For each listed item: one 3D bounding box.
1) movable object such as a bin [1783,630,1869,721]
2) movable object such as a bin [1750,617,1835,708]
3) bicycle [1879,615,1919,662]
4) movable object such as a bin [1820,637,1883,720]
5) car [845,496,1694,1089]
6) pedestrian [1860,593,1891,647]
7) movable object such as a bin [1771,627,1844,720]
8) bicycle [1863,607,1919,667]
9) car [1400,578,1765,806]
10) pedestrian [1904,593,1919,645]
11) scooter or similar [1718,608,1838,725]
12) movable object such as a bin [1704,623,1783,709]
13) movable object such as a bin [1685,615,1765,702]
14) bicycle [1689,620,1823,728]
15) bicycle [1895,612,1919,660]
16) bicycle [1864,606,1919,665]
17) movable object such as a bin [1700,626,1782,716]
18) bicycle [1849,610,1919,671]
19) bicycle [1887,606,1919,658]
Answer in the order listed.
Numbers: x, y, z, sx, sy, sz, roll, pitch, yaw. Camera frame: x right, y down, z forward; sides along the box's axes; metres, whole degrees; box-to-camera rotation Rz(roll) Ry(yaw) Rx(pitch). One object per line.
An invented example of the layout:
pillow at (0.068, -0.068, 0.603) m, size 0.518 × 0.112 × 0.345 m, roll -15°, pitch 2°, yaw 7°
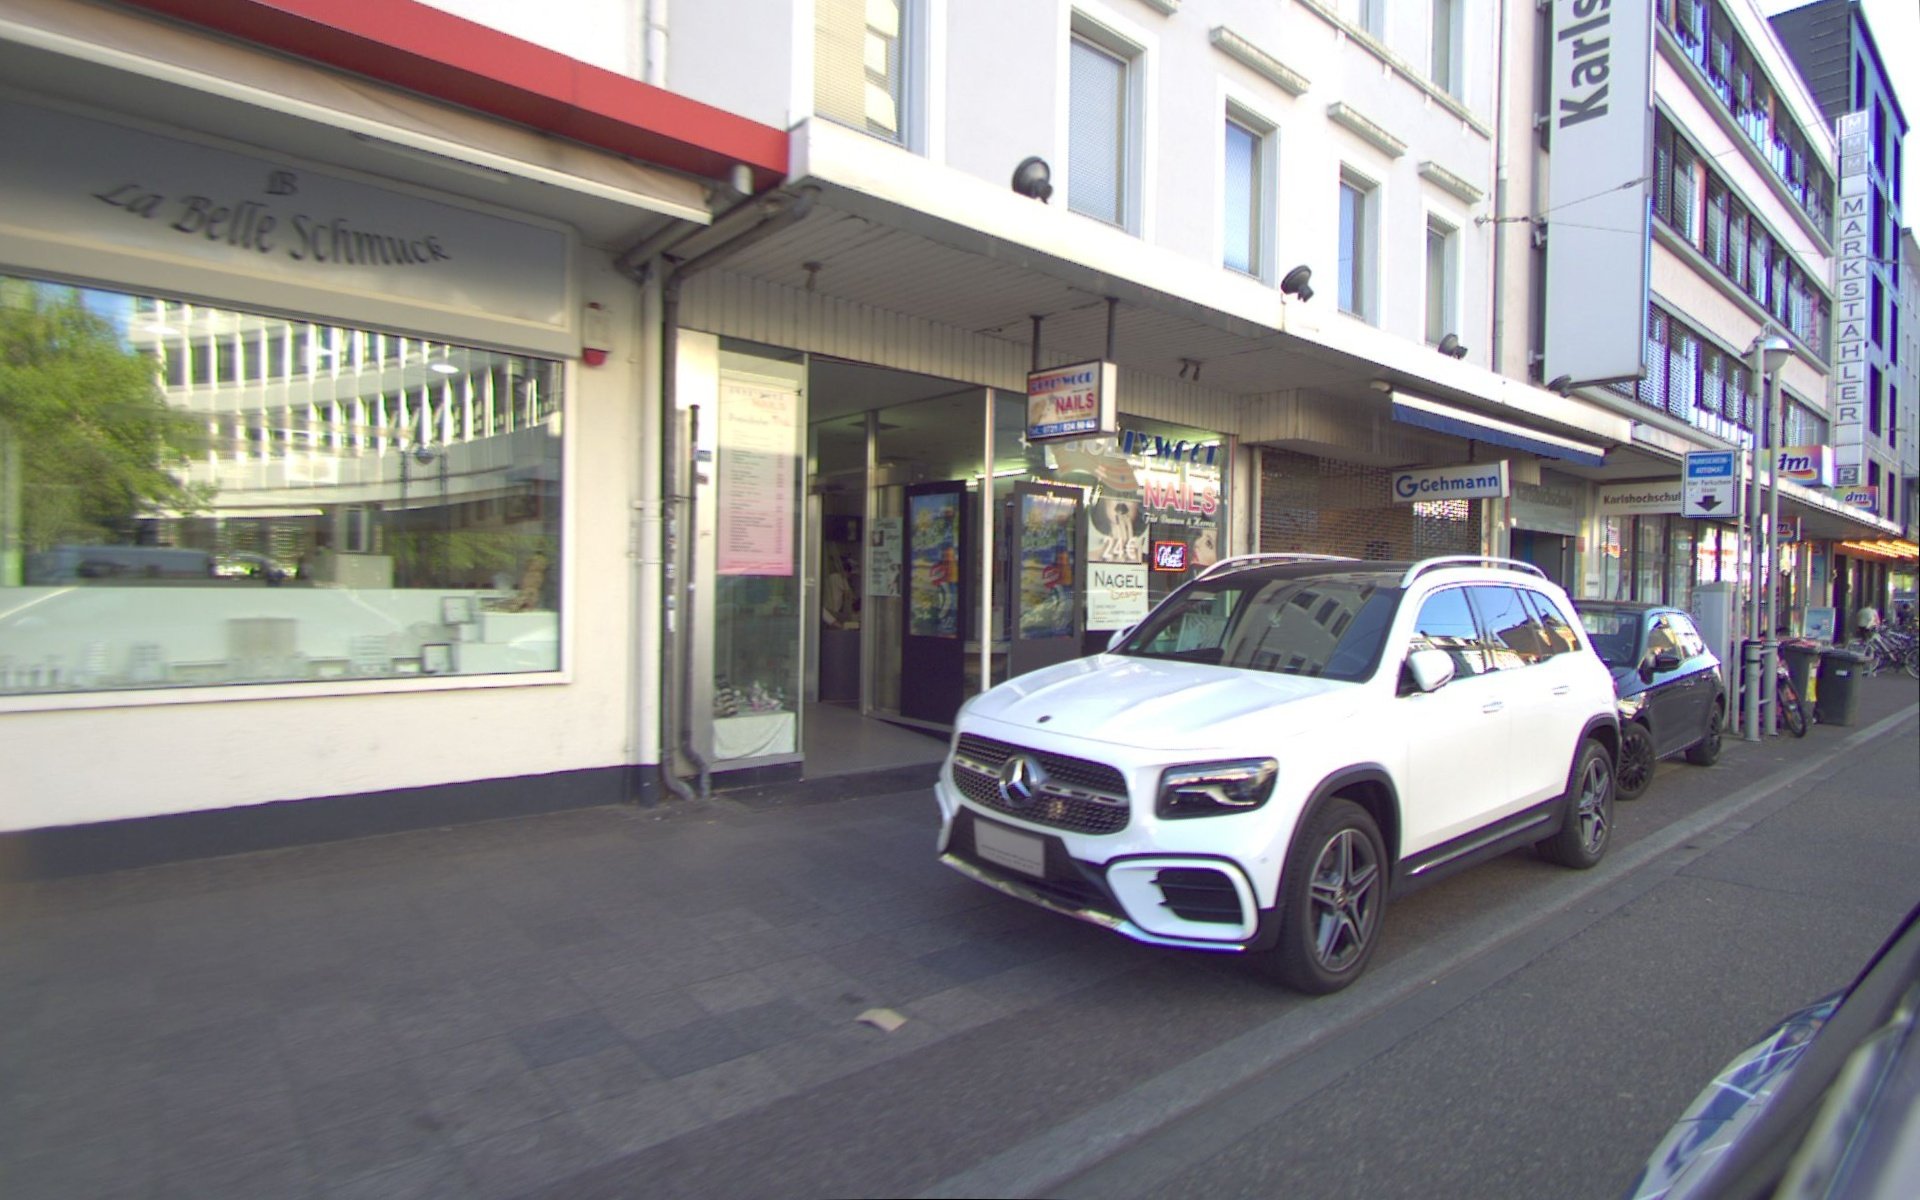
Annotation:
movable object such as a bin at (10.614, 0.904, 12.410) m, size 0.499 × 1.026 × 0.688 m, roll 0°, pitch 2°, yaw -38°
movable object such as a bin at (10.893, 0.801, 13.247) m, size 0.673 × 1.102 × 0.693 m, roll 0°, pitch 2°, yaw -37°
bicycle at (22.177, 0.902, 23.055) m, size 0.586 × 1.044 × 1.777 m, roll 0°, pitch 2°, yaw -41°
movable object such as a bin at (11.109, 0.964, 12.616) m, size 0.449 × 0.970 × 0.489 m, roll 0°, pitch 2°, yaw -37°
car at (2.035, 0.499, 5.349) m, size 5.103 × 1.745 × 1.853 m, roll -1°, pitch 3°, yaw -41°
pedestrian at (27.904, 0.603, 30.851) m, size 0.587 × 1.605 × 0.582 m, roll 0°, pitch 3°, yaw -42°
movable object such as a bin at (10.075, 0.861, 12.034) m, size 0.659 × 1.026 × 0.523 m, roll 0°, pitch 2°, yaw -38°
bicycle at (20.402, 0.798, 21.451) m, size 0.657 × 1.232 × 1.791 m, roll 0°, pitch 2°, yaw -41°
car at (5.622, 0.604, 8.932) m, size 4.000 × 1.547 × 1.617 m, roll -1°, pitch 2°, yaw -41°
pedestrian at (28.788, 0.573, 30.240) m, size 0.575 × 1.511 × 0.523 m, roll 2°, pitch 2°, yaw 14°
scooter or similar at (9.465, 0.741, 11.735) m, size 0.314 × 1.247 × 0.994 m, roll 0°, pitch 3°, yaw -41°
movable object such as a bin at (10.130, 0.832, 13.085) m, size 0.625 × 1.026 × 0.660 m, roll 0°, pitch 2°, yaw -38°
movable object such as a bin at (10.456, 0.783, 13.840) m, size 0.653 × 1.102 × 0.693 m, roll 0°, pitch 2°, yaw -37°
bicycle at (9.114, 0.822, 11.615) m, size 0.314 × 1.093 × 1.133 m, roll 0°, pitch 3°, yaw -41°
bicycle at (23.839, 0.901, 24.455) m, size 1.774 × 1.145 × 0.471 m, roll 3°, pitch 2°, yaw 45°
bicycle at (21.011, 0.785, 22.122) m, size 0.577 × 1.232 × 1.791 m, roll 0°, pitch 2°, yaw -41°
movable object such as a bin at (9.681, 0.862, 12.550) m, size 0.625 × 1.026 × 0.660 m, roll 0°, pitch 2°, yaw -38°
bicycle at (19.457, 0.828, 20.724) m, size 0.657 × 1.174 × 1.791 m, roll 0°, pitch 2°, yaw -41°
bicycle at (24.431, 0.824, 25.122) m, size 2.034 × 1.290 × 0.517 m, roll 2°, pitch 2°, yaw 41°
